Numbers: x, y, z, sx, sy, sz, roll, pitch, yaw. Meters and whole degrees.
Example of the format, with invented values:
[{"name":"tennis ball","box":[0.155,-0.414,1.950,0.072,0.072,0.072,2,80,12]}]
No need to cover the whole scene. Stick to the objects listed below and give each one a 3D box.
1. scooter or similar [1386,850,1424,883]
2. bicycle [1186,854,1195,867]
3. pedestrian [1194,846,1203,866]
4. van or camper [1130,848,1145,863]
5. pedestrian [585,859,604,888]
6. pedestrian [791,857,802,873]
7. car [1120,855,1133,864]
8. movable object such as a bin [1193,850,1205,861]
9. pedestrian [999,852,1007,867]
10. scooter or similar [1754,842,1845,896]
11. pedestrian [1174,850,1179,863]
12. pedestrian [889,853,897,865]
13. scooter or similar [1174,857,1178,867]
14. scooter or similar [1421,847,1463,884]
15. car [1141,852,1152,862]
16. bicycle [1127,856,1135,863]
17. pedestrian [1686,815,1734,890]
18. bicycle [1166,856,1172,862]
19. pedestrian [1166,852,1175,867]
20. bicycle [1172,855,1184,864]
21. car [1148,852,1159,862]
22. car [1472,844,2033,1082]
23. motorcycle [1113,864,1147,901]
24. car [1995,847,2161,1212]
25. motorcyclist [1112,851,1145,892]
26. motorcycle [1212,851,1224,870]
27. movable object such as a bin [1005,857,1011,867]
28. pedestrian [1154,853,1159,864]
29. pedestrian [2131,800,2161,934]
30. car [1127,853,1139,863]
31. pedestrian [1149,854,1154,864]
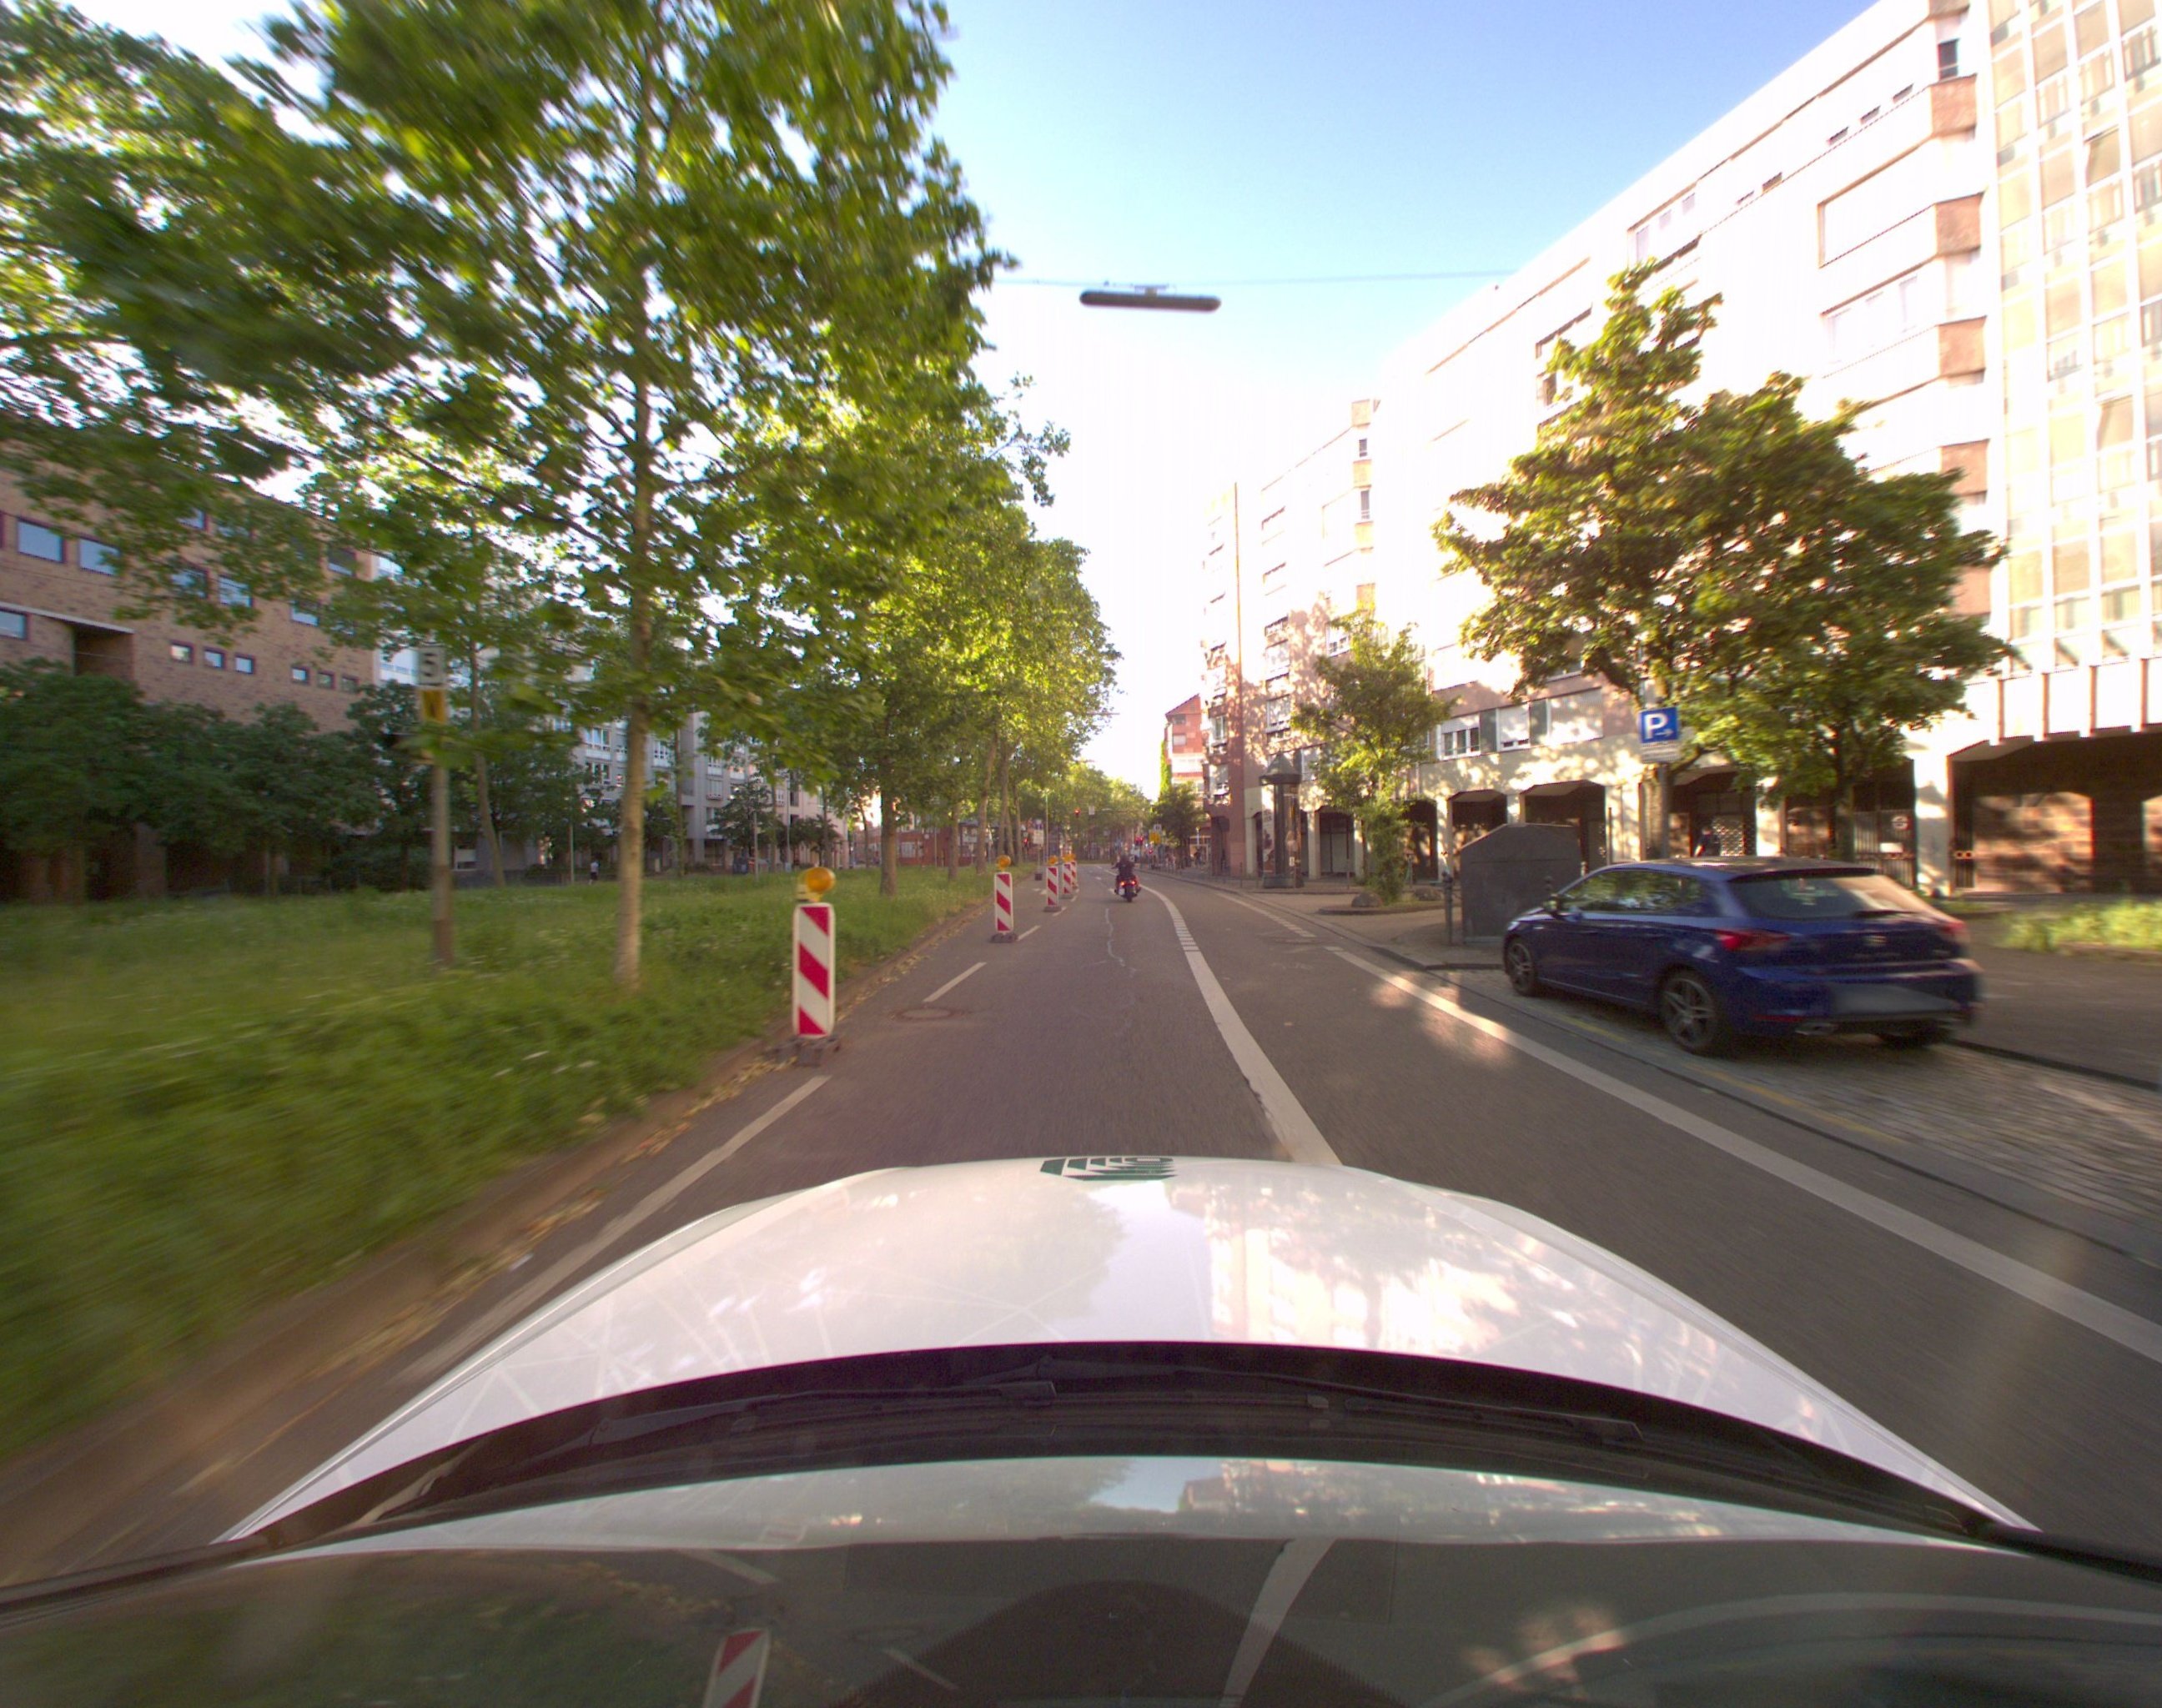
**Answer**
[{"name":"scooter or similar","box":[12.294,0.456,30.951,0.486,1.216,1.441,-1,0,-20]},{"name":"bicycle","box":[10.500,0.607,78.147,0.617,1.225,1.933,-1,0,12]},{"name":"pedestrian","box":[10.053,0.162,69.652,0.776,1.738,0.839,-1,0,8]},{"name":"van or camper","box":[9.889,0.224,141.792,2.036,2.540,5.788,-1,0,10]},{"name":"pedestrian","box":[-29.996,1.219,50.207,0.726,1.740,0.648,-1,0,0]},{"name":"pedestrian","box":[-30.149,1.168,86.303,0.702,1.639,0.791,-1,0,11]},{"name":"car","box":[7.085,0.871,125.409,1.611,1.302,4.321,-1,0,8]},{"name":"movable object such as a bin","box":[15.479,0.210,106.812,1.401,1.482,0.874,-1,0,11]},{"name":"pedestrian","box":[-7.873,0.557,82.013,0.612,1.503,0.538,-1,0,26]},{"name":"scooter or similar","box":[15.788,0.319,17.915,1.447,1.145,0.559,-1,0,5]},{"name":"pedestrian","box":[11.721,0.320,100.236,0.458,1.672,0.678,-1,0,-6]},{"name":"pedestrian","box":[-28.082,0.732,121.645,0.850,1.869,0.754,-1,0,7]},{"name":"scooter or similar","box":[11.556,0.958,99.178,0.392,1.158,1.251,-1,0,6]},{"name":"scooter or similar","box":[12.723,0.403,28.768,0.486,1.274,1.441,-1,0,-20]},{"name":"car","box":[12.929,0.616,159.411,1.609,1.865,3.787,-1,0,12]},{"name":"bicycle","box":[7.257,0.805,118.320,0.737,1.053,1.746,-1,0,-9]},{"name":"pedestrian","box":[17.132,-0.043,22.190,0.808,1.981,0.853,-1,0,22]},{"name":"bicycle","box":[12.708,0.731,117.646,0.734,0.939,1.754,-1,0,4]},{"name":"pedestrian","box":[10.930,0.663,99.518,0.788,1.763,0.606,-1,0,-19]},{"name":"bicycle","box":[13.036,0.704,109.390,1.559,1.227,0.578,-1,0,5]},{"name":"car","box":[14.743,0.589,165.663,1.824,2.013,4.399,-1,0,9]},{"name":"car","box":[5.365,0.704,7.405,1.695,1.483,4.251,-2,0,2]},{"name":"motorcycle","box":[1.524,0.891,25.908,1.014,1.097,2.008,-1,0,2]},{"name":"car","box":[5.134,0.704,1.786,1.695,1.465,4.179,-2,0,3]},{"name":"motorcyclist","box":[1.521,0.554,25.954,1.008,1.263,0.774,1,0,1]},{"name":"motorcycle","box":[9.981,0.441,59.317,0.486,1.372,2.090,-1,0,0]},{"name":"movable object such as a bin","box":[-7.371,0.836,82.229,0.506,0.953,0.541,-1,0,13]},{"name":"pedestrian","box":[11.879,0.688,127.912,0.697,1.733,0.768,-1,0,3]},{"name":"pedestrian","box":[16.298,0.190,11.986,0.637,1.981,0.776,-1,0,1]},{"name":"car","box":[8.653,0.699,135.132,1.610,1.619,4.496,-1,0,9]},{"name":"pedestrian","box":[11.050,0.812,127.932,0.641,1.578,0.749,-1,0,3]}]
